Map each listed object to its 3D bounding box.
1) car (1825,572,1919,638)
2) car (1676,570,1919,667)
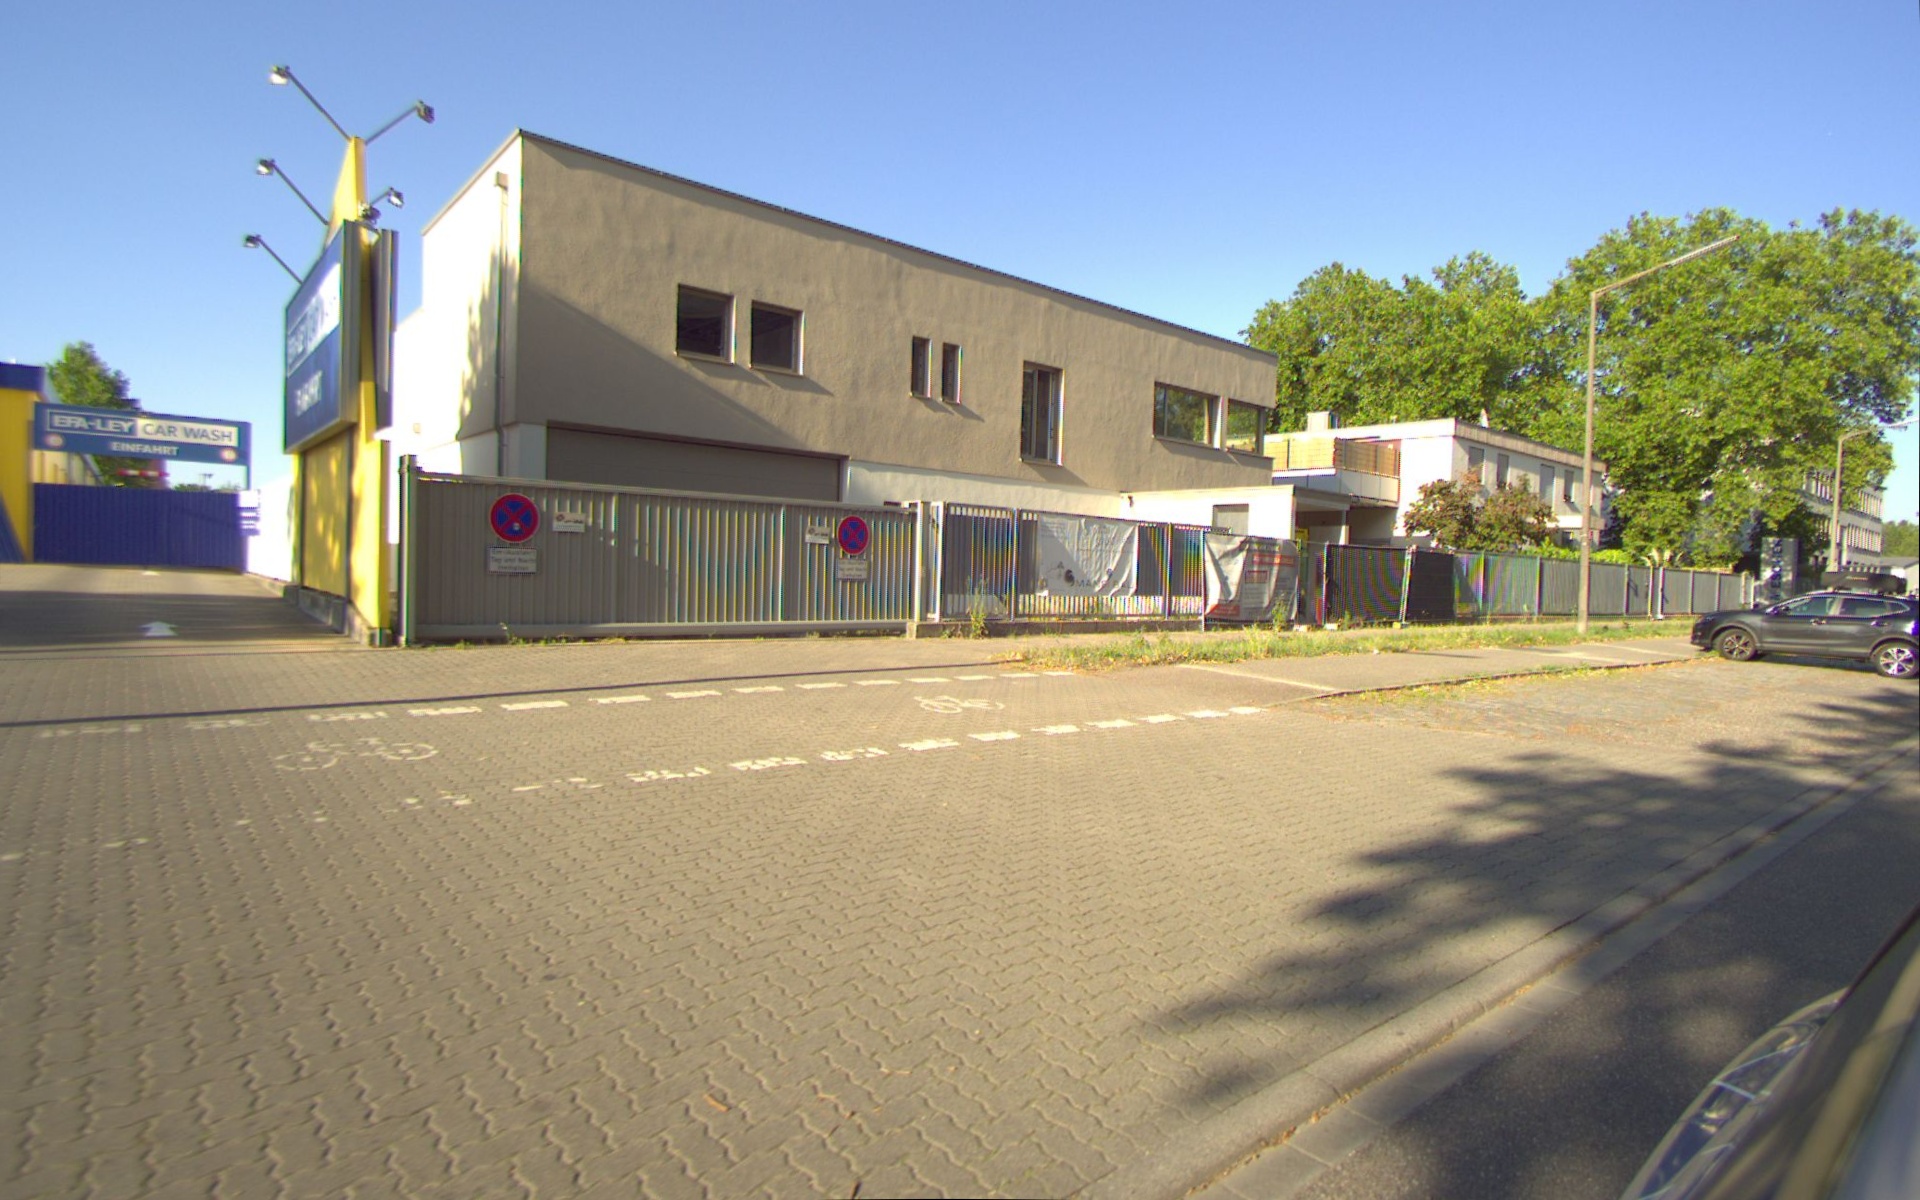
[{"bbox_3d":[28.553,0.247,29.587,1.965,1.732,4.637,0,6,-41],"label":"car"},{"bbox_3d":[18.024,0.339,21.094,1.965,1.544,4.637,0,6,-41],"label":"car"}]
